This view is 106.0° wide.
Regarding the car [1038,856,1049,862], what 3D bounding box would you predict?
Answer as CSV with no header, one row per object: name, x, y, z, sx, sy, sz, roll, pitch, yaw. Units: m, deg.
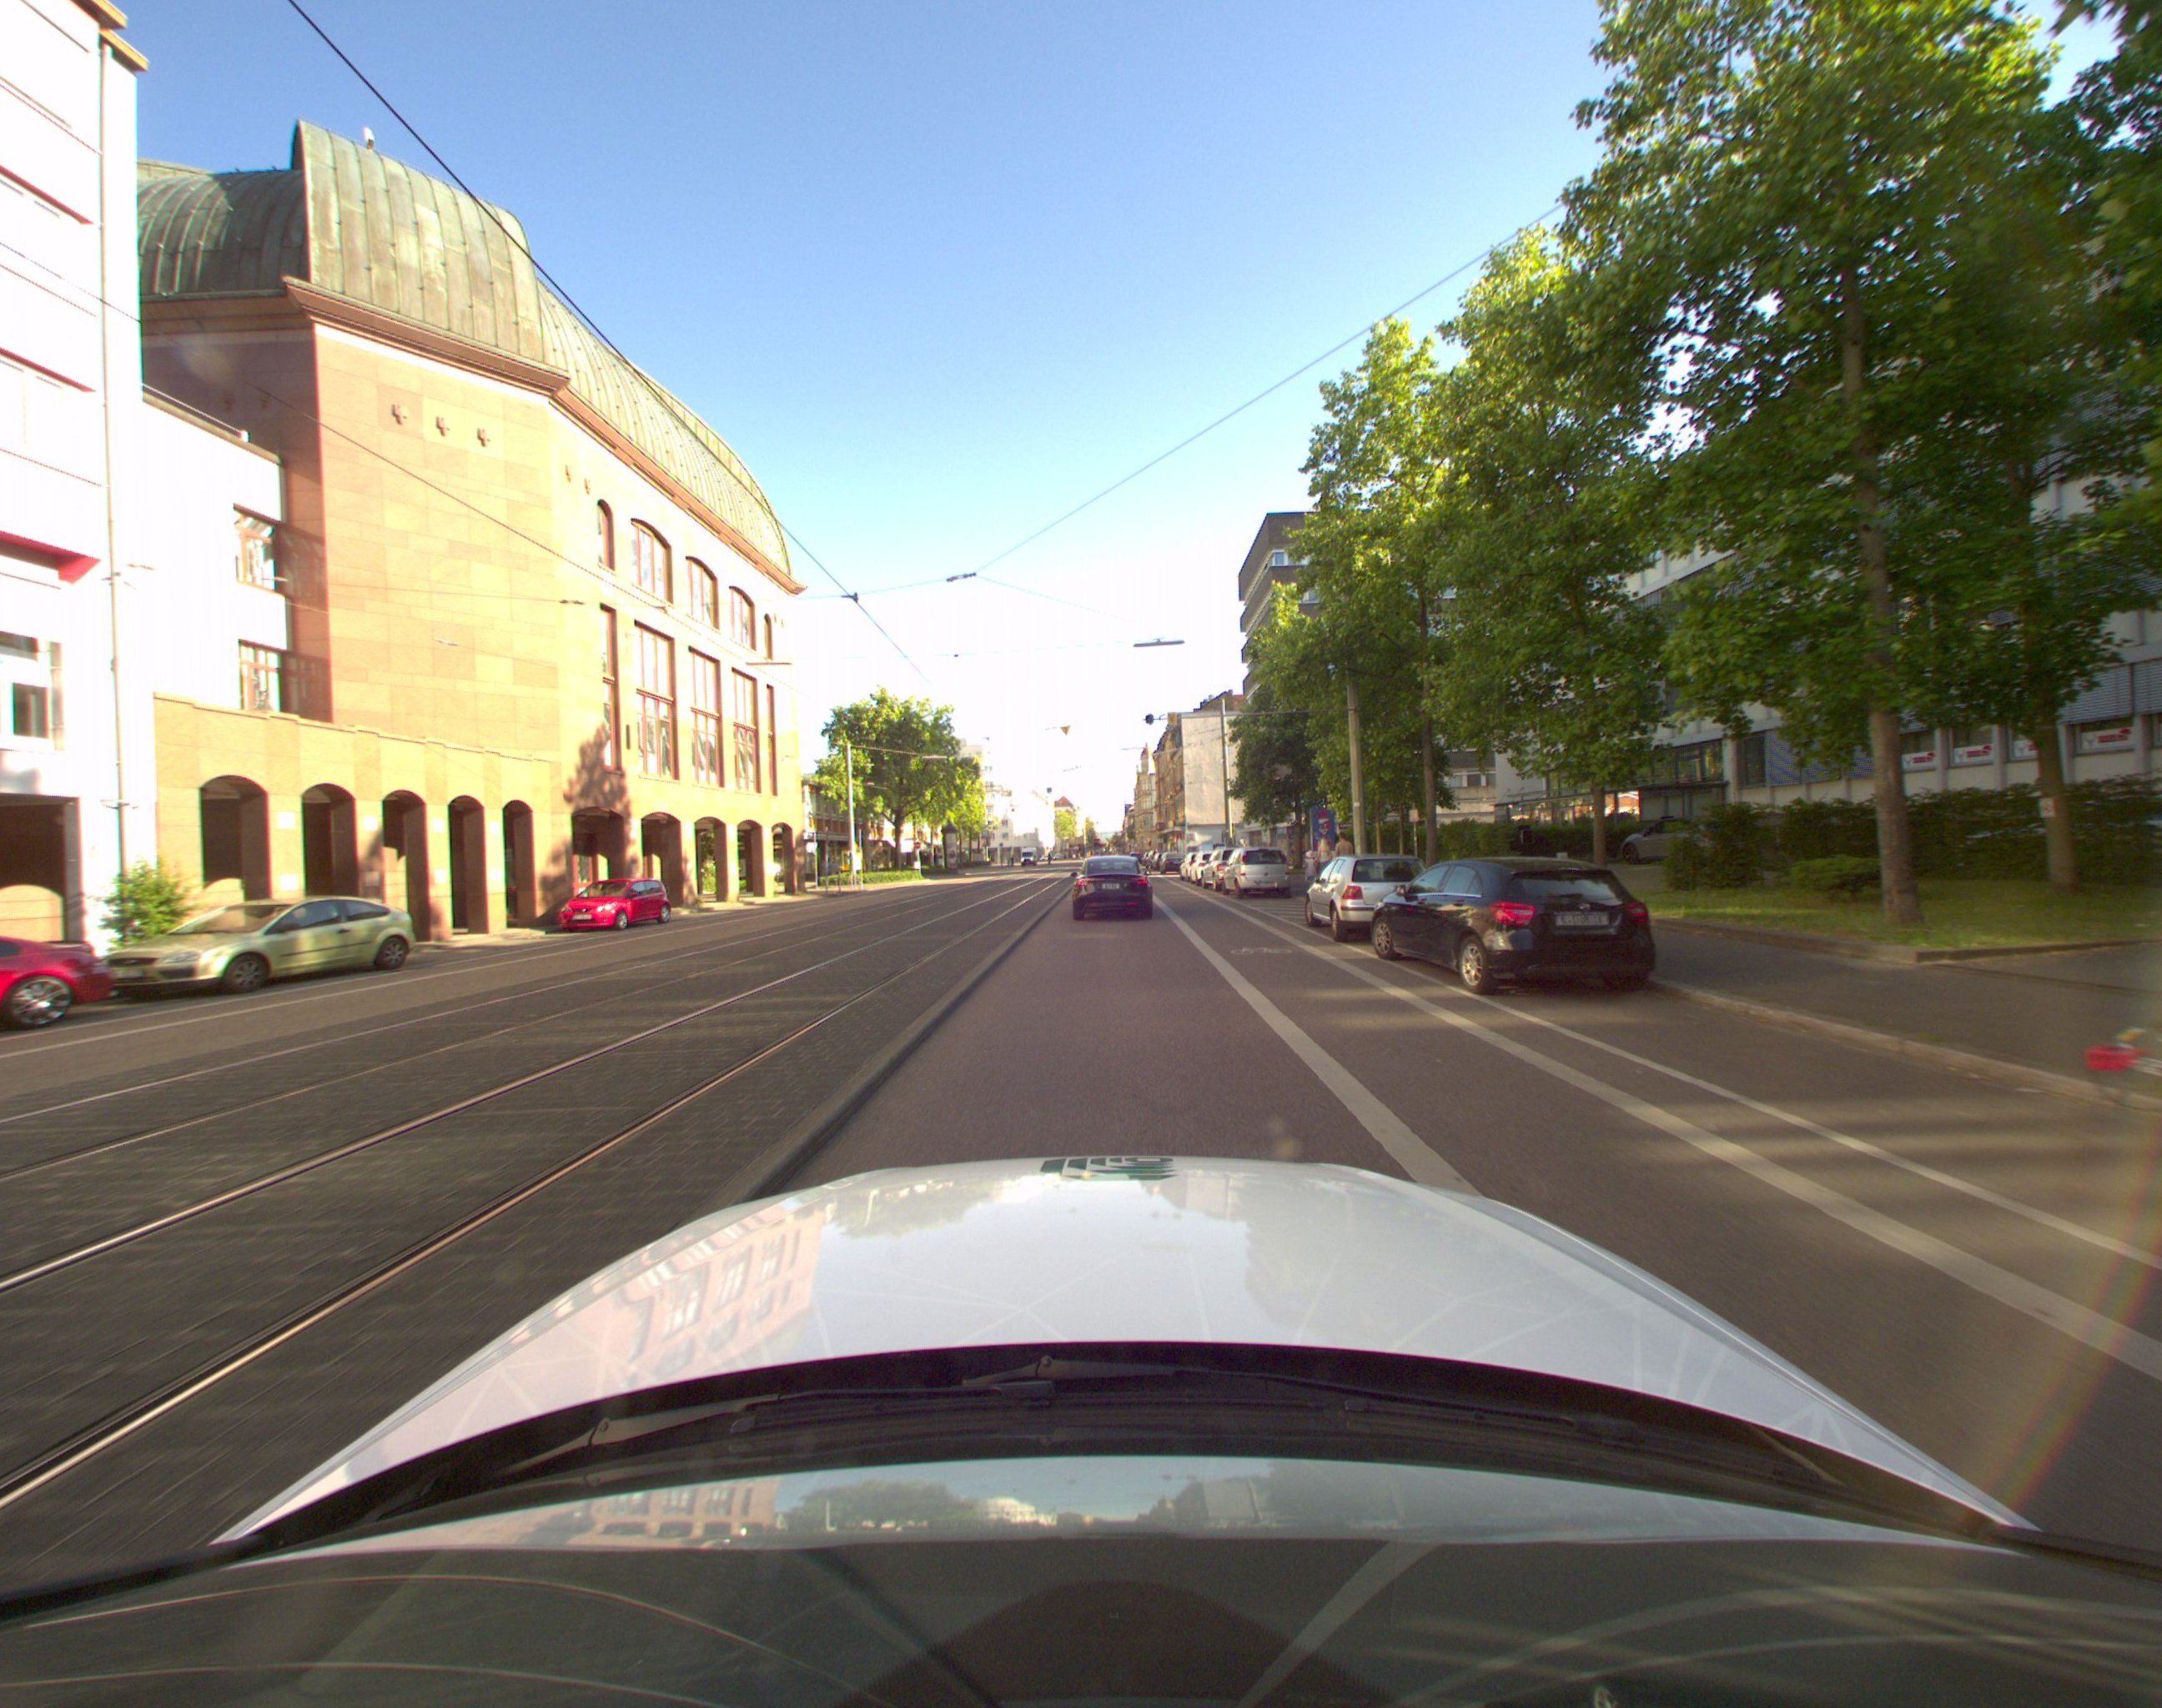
car,-8.714,1.155,189.297,1.986,1.368,4.002,-3,0,2

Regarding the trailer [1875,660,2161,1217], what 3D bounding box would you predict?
trailer,4.884,0.312,2.303,1.654,2.117,3.846,-1,0,3

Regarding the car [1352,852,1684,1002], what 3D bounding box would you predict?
car,4.917,0.711,9.981,1.796,1.435,4.323,0,0,0

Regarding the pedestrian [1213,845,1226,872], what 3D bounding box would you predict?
pedestrian,9.485,0.285,55.850,0.719,1.812,0.889,-3,-1,2

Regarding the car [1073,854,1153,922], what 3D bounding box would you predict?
car,0.725,0.740,19.572,1.713,1.405,3.710,-1,0,1

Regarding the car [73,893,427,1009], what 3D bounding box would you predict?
car,-13.997,1.542,14.168,1.663,1.468,4.292,-1,0,2

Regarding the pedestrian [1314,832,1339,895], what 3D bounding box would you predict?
pedestrian,7.923,0.296,26.290,0.462,1.954,0.749,-6,0,7

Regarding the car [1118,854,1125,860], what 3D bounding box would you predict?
car,10.990,0.803,222.027,1.838,1.592,4.003,-3,0,3

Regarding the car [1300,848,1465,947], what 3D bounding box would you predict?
car,5.091,0.646,14.372,1.741,1.443,4.323,-2,0,7

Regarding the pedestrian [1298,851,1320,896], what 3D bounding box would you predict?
pedestrian,7.372,0.636,26.339,0.453,1.398,0.423,-6,-1,6

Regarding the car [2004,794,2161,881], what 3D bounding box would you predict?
car,19.084,-0.315,13.982,1.787,1.464,3.993,-3,0,-5

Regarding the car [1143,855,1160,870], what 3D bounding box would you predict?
car,7.661,0.891,88.526,1.708,1.472,3.722,-3,0,3

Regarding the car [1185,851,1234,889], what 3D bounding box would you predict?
car,5.809,0.686,37.172,1.536,1.570,4.443,-1,0,0

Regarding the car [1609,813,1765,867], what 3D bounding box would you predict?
car,19.396,-0.453,26.335,1.784,1.536,4.308,-3,1,-1

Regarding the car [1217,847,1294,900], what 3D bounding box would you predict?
car,5.686,0.584,26.950,1.708,1.590,4.065,-1,0,1

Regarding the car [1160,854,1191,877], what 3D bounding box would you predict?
car,6.447,0.748,55.940,1.704,1.457,4.552,-1,0,2

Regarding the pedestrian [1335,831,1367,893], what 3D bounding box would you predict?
pedestrian,8.643,0.243,26.092,0.665,1.897,0.749,-6,0,7

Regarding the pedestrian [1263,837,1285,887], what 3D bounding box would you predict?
pedestrian,7.290,0.299,30.758,0.608,1.808,0.603,-3,-1,6

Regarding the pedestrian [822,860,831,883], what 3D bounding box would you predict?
pedestrian,-20.855,1.408,66.639,0.590,1.872,0.537,-1,0,-7

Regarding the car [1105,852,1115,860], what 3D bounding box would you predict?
car,6.460,0.469,180.762,1.989,1.525,3.996,-2,0,-2

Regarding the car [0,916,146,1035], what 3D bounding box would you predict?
car,-14.213,1.562,9.082,1.953,1.325,4.821,-1,0,1

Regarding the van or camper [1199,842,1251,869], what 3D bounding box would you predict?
van or camper,13.689,0.103,77.846,4.621,2.136,1.990,-5,-1,5

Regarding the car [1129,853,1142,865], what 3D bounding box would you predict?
car,7.079,0.603,106.284,1.587,1.433,3.689,-3,0,3

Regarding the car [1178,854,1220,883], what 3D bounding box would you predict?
car,6.084,0.718,42.486,1.597,1.443,3.883,0,0,-1

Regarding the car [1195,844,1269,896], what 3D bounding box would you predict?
car,5.783,0.562,31.752,1.919,1.834,4.710,-1,0,-1

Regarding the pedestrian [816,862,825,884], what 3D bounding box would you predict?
pedestrian,-22.922,1.678,71.638,0.624,1.847,0.673,-1,0,-1

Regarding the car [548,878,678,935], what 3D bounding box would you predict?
car,-13.767,1.501,24.197,1.653,1.422,3.621,-1,0,2

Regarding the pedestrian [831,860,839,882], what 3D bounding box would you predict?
pedestrian,-20.234,1.414,66.924,0.545,1.801,0.587,-1,0,-7

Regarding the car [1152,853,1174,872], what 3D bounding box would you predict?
car,6.759,0.715,67.368,1.456,1.432,3.814,-2,-1,1

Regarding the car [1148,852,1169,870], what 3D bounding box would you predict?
car,7.366,0.667,77.754,1.822,1.628,4.098,-2,-1,3

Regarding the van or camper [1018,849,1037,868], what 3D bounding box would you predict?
van or camper,-7.899,0.682,121.153,2.133,2.654,6.880,-3,0,0
